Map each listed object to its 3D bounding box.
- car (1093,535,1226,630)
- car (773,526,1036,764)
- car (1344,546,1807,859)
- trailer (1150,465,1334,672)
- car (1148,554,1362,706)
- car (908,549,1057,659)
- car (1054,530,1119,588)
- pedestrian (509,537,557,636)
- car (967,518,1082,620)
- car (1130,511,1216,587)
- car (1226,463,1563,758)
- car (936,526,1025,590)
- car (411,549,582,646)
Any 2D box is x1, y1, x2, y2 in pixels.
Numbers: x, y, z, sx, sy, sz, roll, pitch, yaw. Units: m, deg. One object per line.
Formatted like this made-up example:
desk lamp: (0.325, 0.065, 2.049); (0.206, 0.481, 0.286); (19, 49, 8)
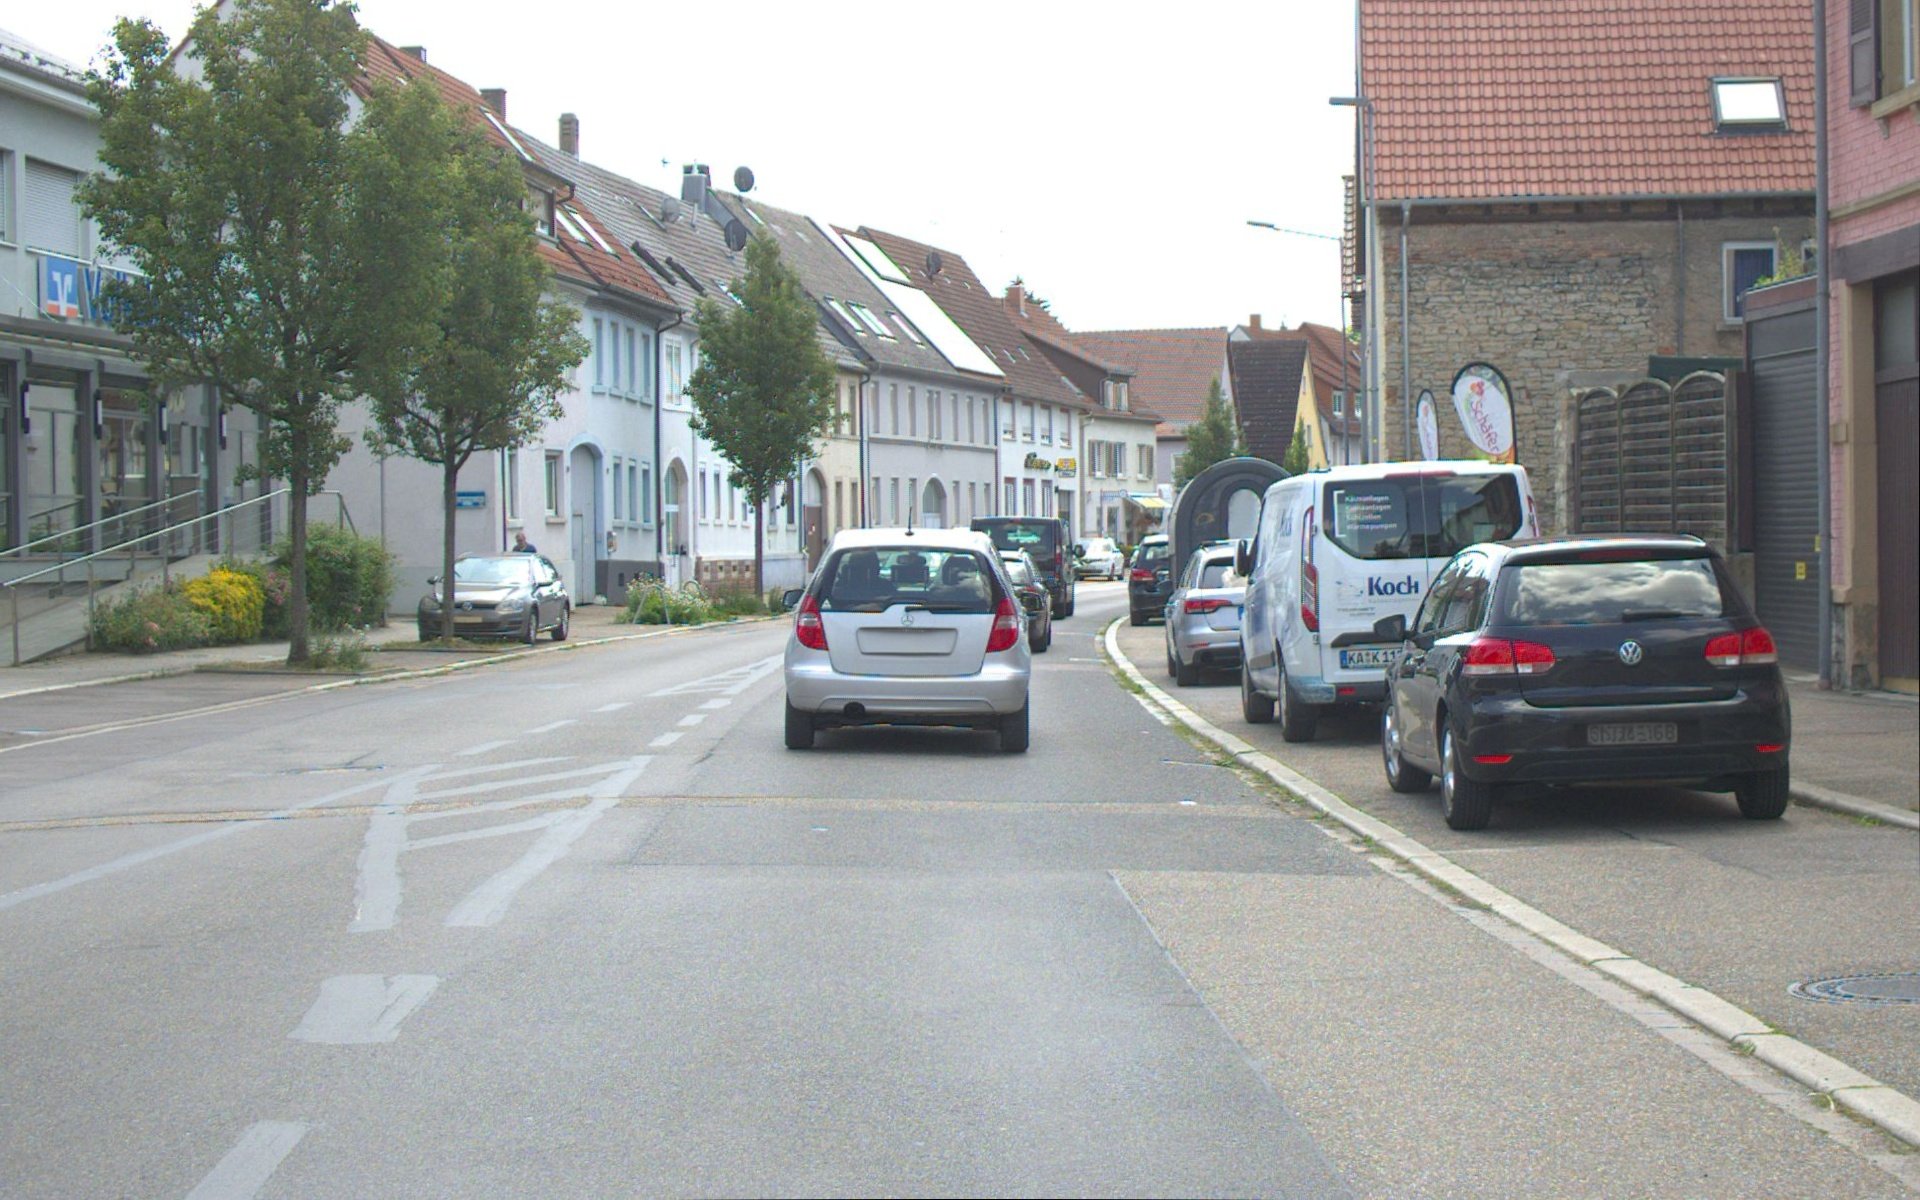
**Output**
car: (3.542, -0.331, 60.399); (1.994, 1.554, 3.999); (-2, 1, 8)
car: (-0.414, 0.296, 25.782); (1.769, 1.589, 4.000); (2, 0, -1)
car: (3.217, 0.467, 18.749); (1.774, 1.490, 4.162); (-1, 1, 0)
trailer: (3.349, -0.398, 41.403); (1.845, 2.346, 3.590); (-1, 1, 0)
car: (3.052, 0.265, 36.413); (1.875, 1.476, 4.675); (0, 1, 0)
car: (0.286, 0.040, 48.115); (1.945, 1.402, 4.000); (2, 0, 0)
car: (4.544, -1.456, 122.975); (1.994, 2.007, 3.999); (-1, 0, 7)
pedestrian: (-7.837, -0.253, 63.123); (0.739, 1.795, 0.642); (-1, 0, 2)
car: (1.300, -0.598, 67.470); (1.769, 1.881, 4.446); (2, 0, 6)
car: (6.517, -1.534, 104.964); (2.237, 2.215, 3.999); (-1, 0, 9)
car: (3.226, 0.038, 26.488); (1.892, 1.975, 4.931); (-3, 1, 0)
car: (0.648, -1.274, 104.212); (2.092, 1.877, 3.999); (0, 1, 10)
car: (-7.278, -0.064, 54.315); (1.805, 1.455, 4.157); (0, 1, 5)
